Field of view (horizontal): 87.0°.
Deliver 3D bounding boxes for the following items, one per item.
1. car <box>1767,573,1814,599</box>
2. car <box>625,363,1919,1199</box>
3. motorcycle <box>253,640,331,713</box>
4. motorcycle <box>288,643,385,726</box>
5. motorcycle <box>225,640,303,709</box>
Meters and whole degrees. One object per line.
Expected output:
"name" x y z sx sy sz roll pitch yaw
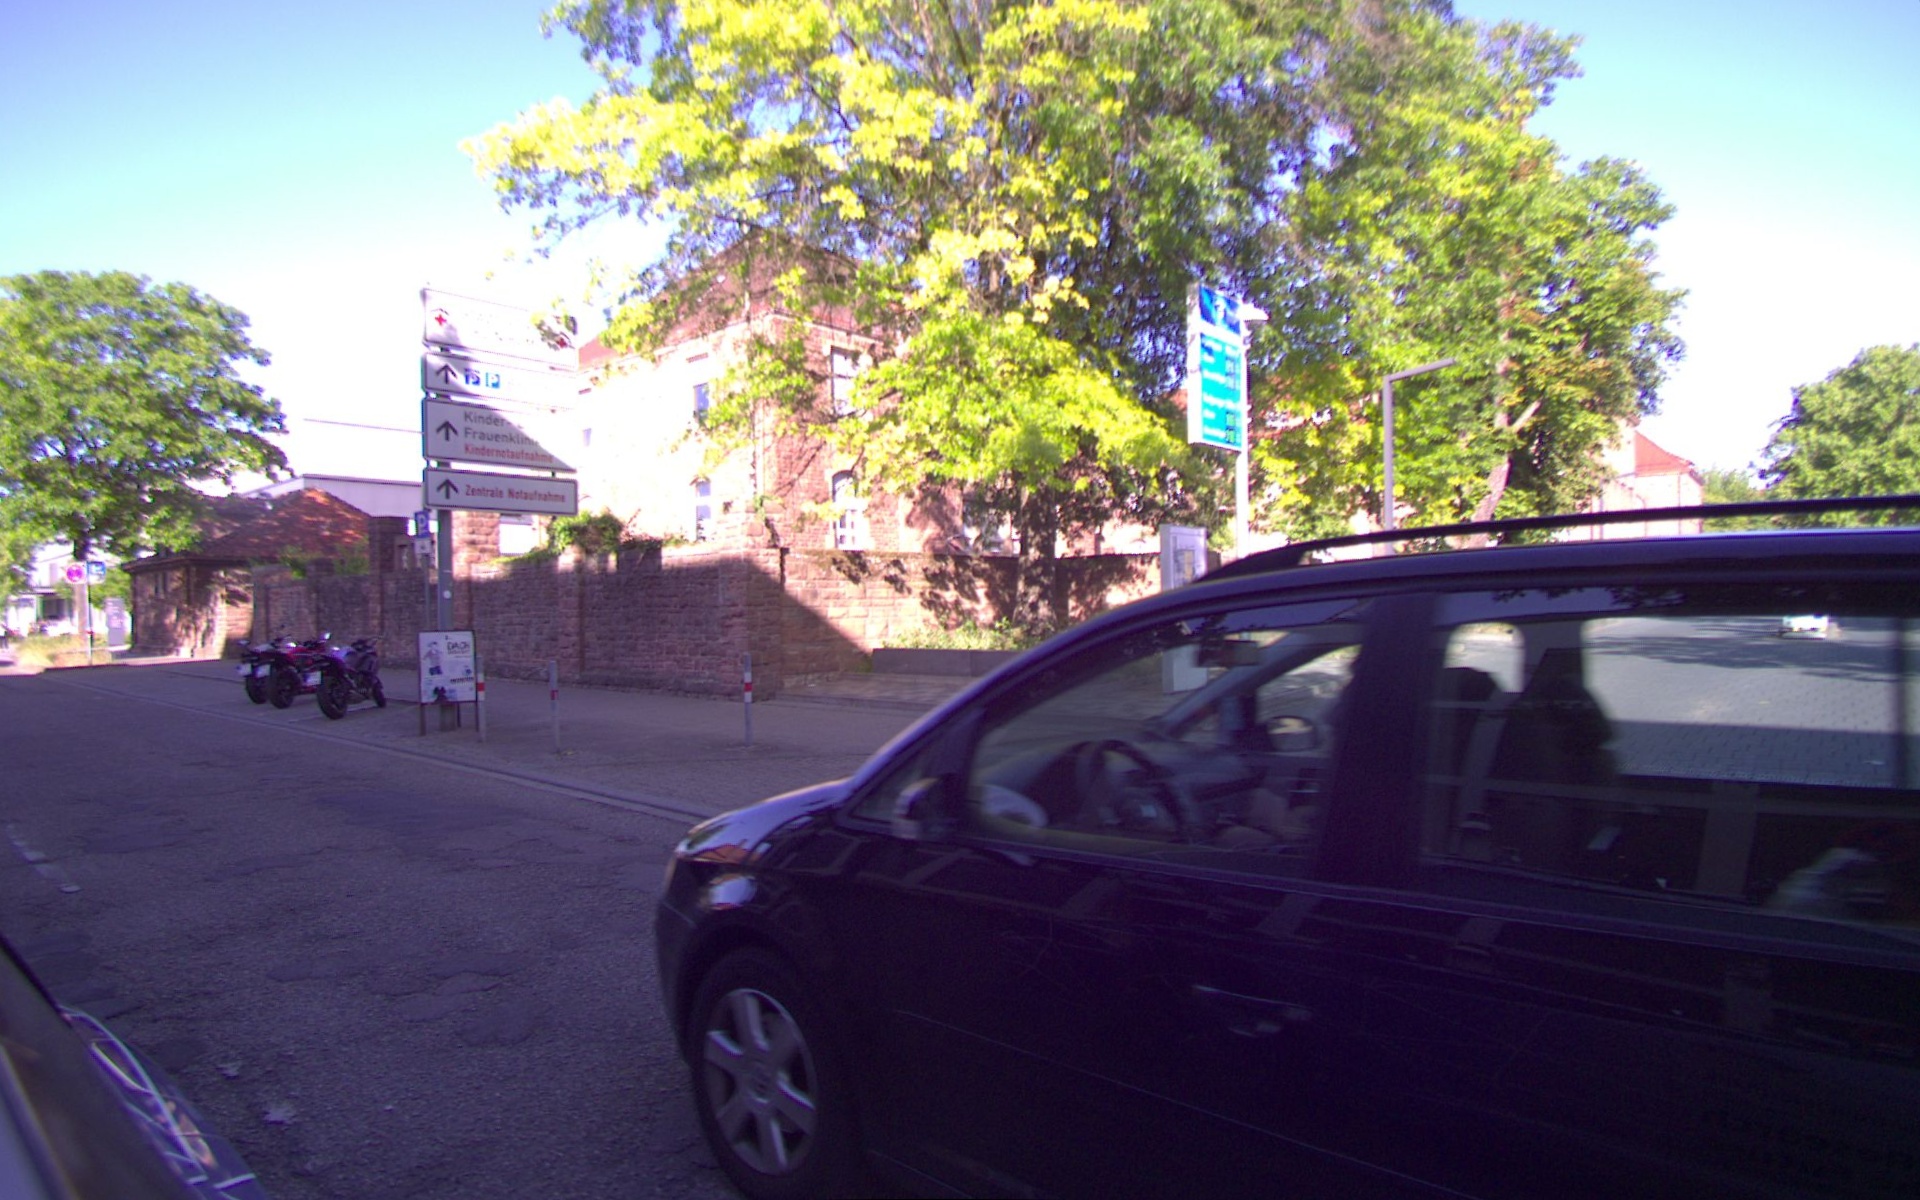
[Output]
"car" 45.978 -0.768 56.009 1.738 1.334 3.026 -1 1 44
"car" 1.173 0.578 2.050 4.017 1.623 1.627 -2 -2 39
"motorcycle" -11.216 1.248 17.053 0.523 1.047 2.097 -3 1 -18
"motorcycle" -9.062 1.186 14.794 0.591 1.040 2.134 -2 0 -15
"motorcycle" -12.365 1.297 18.046 0.523 1.047 2.097 -3 1 -18
